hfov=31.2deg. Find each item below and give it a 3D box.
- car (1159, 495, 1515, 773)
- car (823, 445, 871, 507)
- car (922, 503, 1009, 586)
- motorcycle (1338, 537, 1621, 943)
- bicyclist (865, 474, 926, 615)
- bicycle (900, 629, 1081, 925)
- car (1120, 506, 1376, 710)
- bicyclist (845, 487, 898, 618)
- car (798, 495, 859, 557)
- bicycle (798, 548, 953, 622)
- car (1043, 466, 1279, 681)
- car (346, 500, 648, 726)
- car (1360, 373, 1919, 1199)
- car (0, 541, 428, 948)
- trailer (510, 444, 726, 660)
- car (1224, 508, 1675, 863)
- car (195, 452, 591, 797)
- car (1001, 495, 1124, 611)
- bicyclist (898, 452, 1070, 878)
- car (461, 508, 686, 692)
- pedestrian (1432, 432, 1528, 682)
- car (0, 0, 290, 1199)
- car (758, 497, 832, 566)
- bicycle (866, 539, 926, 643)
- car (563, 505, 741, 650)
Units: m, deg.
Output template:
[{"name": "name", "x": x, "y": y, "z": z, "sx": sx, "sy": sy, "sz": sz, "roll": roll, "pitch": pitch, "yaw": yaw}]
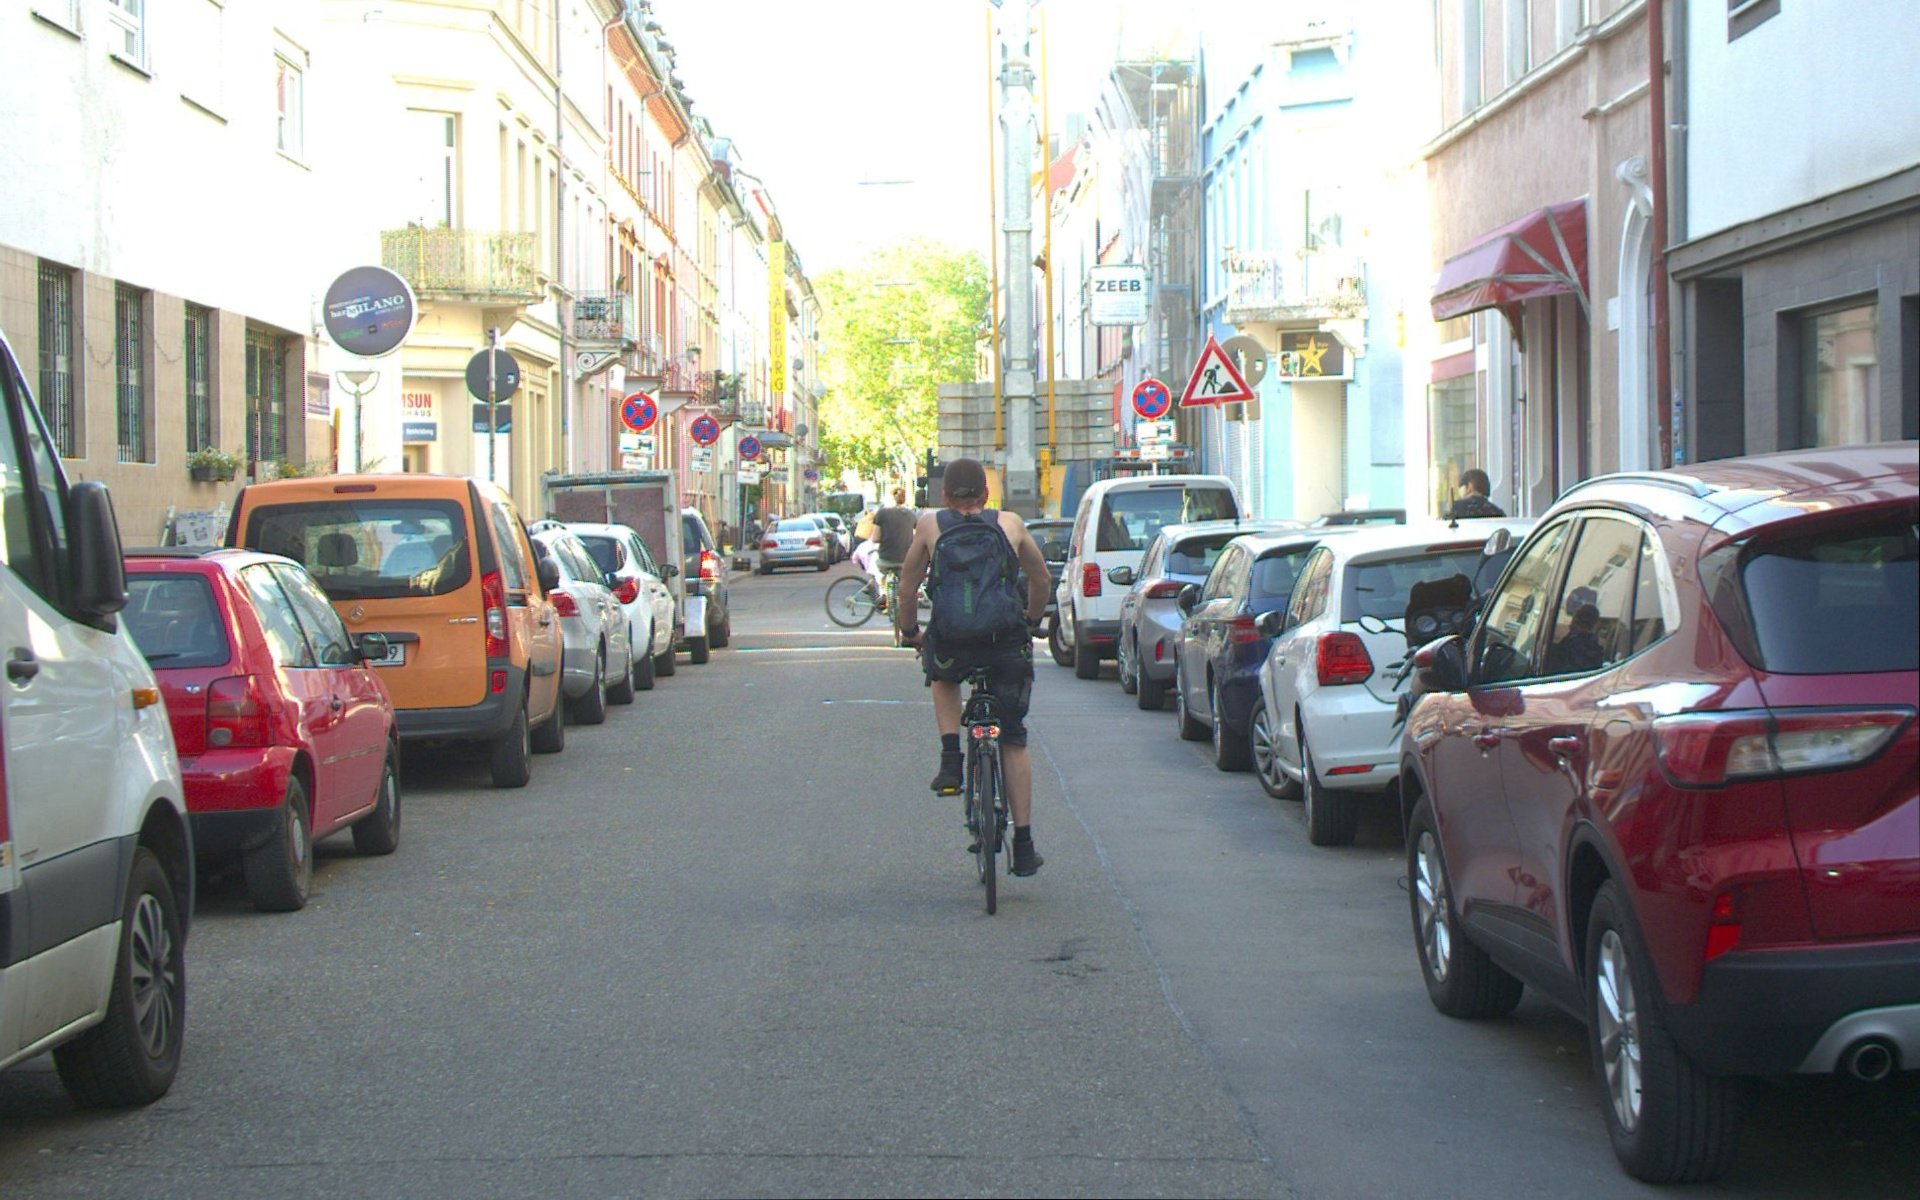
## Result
[{"name": "car", "x": 2.291, "y": 0.157, "z": 21.830, "sx": 1.646, "sy": 1.470, "sz": 3.971, "roll": -5, "pitch": 1, "yaw": -1}, {"name": "car", "x": -4.439, "y": -4.875, "z": 135.821, "sx": 1.750, "sy": 2.310, "sz": 3.796, "roll": -2, "pitch": 1, "yaw": -1}, {"name": "car", "x": 0.092, "y": -1.079, "z": 66.463, "sx": 1.611, "sy": 1.554, "sz": 3.610, "roll": 0, "pitch": 1, "yaw": -1}, {"name": "motorcycle", "x": 2.038, "y": 0.493, "z": 13.816, "sx": 0.747, "sy": 1.485, "sz": 2.422, "roll": 0, "pitch": 1, "yaw": 0}, {"name": "bicyclist", "x": -0.719, "y": -0.623, "z": 38.403, "sx": 0.671, "sy": 1.562, "sz": 0.716, "roll": 0, "pitch": 1, "yaw": -1}, {"name": "bicycle", "x": 0.097, "y": 0.682, "z": 14.033, "sx": 0.677, "sy": 1.071, "sz": 1.942, "roll": 0, "pitch": 1, "yaw": -1}, {"name": "car", "x": 2.258, "y": 0.019, "z": 27.801, "sx": 1.750, "sy": 1.481, "sz": 3.800, "roll": -2, "pitch": 1, "yaw": 1}, {"name": "bicyclist", "x": -1.159, "y": -0.623, "z": 44.863, "sx": 0.681, "sy": 1.700, "sz": 0.381, "roll": 0, "pitch": 1, "yaw": -3}, {"name": "car", "x": -4.064, "y": -2.283, "z": 106.452, "sx": 1.750, "sy": 1.815, "sz": 3.796, "roll": -2, "pitch": 1, "yaw": -1}, {"name": "bicycle", "x": -1.107, "y": -0.196, "z": 44.885, "sx": 1.995, "sy": 0.955, "sz": 0.478, "roll": 0, "pitch": 1, "yaw": -3}, {"name": "car", "x": 1.855, "y": -0.281, "z": 32.857, "sx": 1.750, "sy": 1.872, "sz": 3.973, "roll": -2, "pitch": 1, "yaw": -3}, {"name": "car", "x": -3.451, "y": 0.045, "z": 26.350, "sx": 1.750, "sy": 1.532, "sz": 4.320, "roll": -2, "pitch": 1, "yaw": -1}, {"name": "car", "x": 2.324, "y": 0.327, "z": 9.132, "sx": 1.918, "sy": 1.700, "sz": 4.367, "roll": -1, "pitch": 2, "yaw": -1}, {"name": "car", "x": -3.403, "y": 0.541, "z": 15.004, "sx": 1.578, "sy": 1.478, "sz": 3.565, "roll": -4, "pitch": 1, "yaw": -1}, {"name": "trailer", "x": -3.522, "y": -0.514, "z": 36.031, "sx": 1.882, "sy": 2.085, "sz": 3.737, "roll": -2, "pitch": 1, "yaw": -1}, {"name": "car", "x": 2.356, "y": 0.345, "z": 17.435, "sx": 1.667, "sy": 1.500, "sz": 3.816, "roll": -4, "pitch": 1, "yaw": 0}, {"name": "car", "x": -3.333, "y": 0.093, "z": 20.944, "sx": 1.752, "sy": 1.810, "sz": 4.079, "roll": -3, "pitch": 1, "yaw": -1}, {"name": "car", "x": 1.462, "y": -0.704, "z": 50.135, "sx": 1.611, "sy": 1.628, "sz": 3.610, "roll": 0, "pitch": 1, "yaw": -1}, {"name": "bicyclist", "x": 0.085, "y": 0.246, "z": 14.044, "sx": 0.667, "sy": 1.671, "sz": 1.097, "roll": 0, "pitch": 1, "yaw": -1}, {"name": "car", "x": -3.470, "y": -0.039, "z": 31.370, "sx": 1.653, "sy": 1.532, "sz": 3.635, "roll": -2, "pitch": 1, "yaw": -1}, {"name": "pedestrian", "x": 4.218, "y": -0.352, "z": 27.911, "sx": 0.644, "sy": 2.007, "sz": 0.764, "roll": 0, "pitch": 1, "yaw": -1}, {"name": "car", "x": -3.229, "y": -0.181, "z": 6.597, "sx": 2.343, "sy": 3.280, "sz": 7.155, "roll": -3, "pitch": 1, "yaw": 0}, {"name": "car", "x": -4.260, "y": -1.776, "z": 89.248, "sx": 1.750, "sy": 1.678, "sz": 3.796, "roll": -2, "pitch": 1, "yaw": -1}, {"name": "bicycle", "x": -0.718, "y": -0.115, "z": 38.375, "sx": 0.648, "sy": 1.125, "sz": 2.136, "roll": 0, "pitch": 1, "yaw": -1}, {"name": "car", "x": -3.565, "y": -0.289, "z": 40.351, "sx": 1.750, "sy": 1.567, "sz": 3.796, "roll": -2, "pitch": 1, "yaw": -1}]
